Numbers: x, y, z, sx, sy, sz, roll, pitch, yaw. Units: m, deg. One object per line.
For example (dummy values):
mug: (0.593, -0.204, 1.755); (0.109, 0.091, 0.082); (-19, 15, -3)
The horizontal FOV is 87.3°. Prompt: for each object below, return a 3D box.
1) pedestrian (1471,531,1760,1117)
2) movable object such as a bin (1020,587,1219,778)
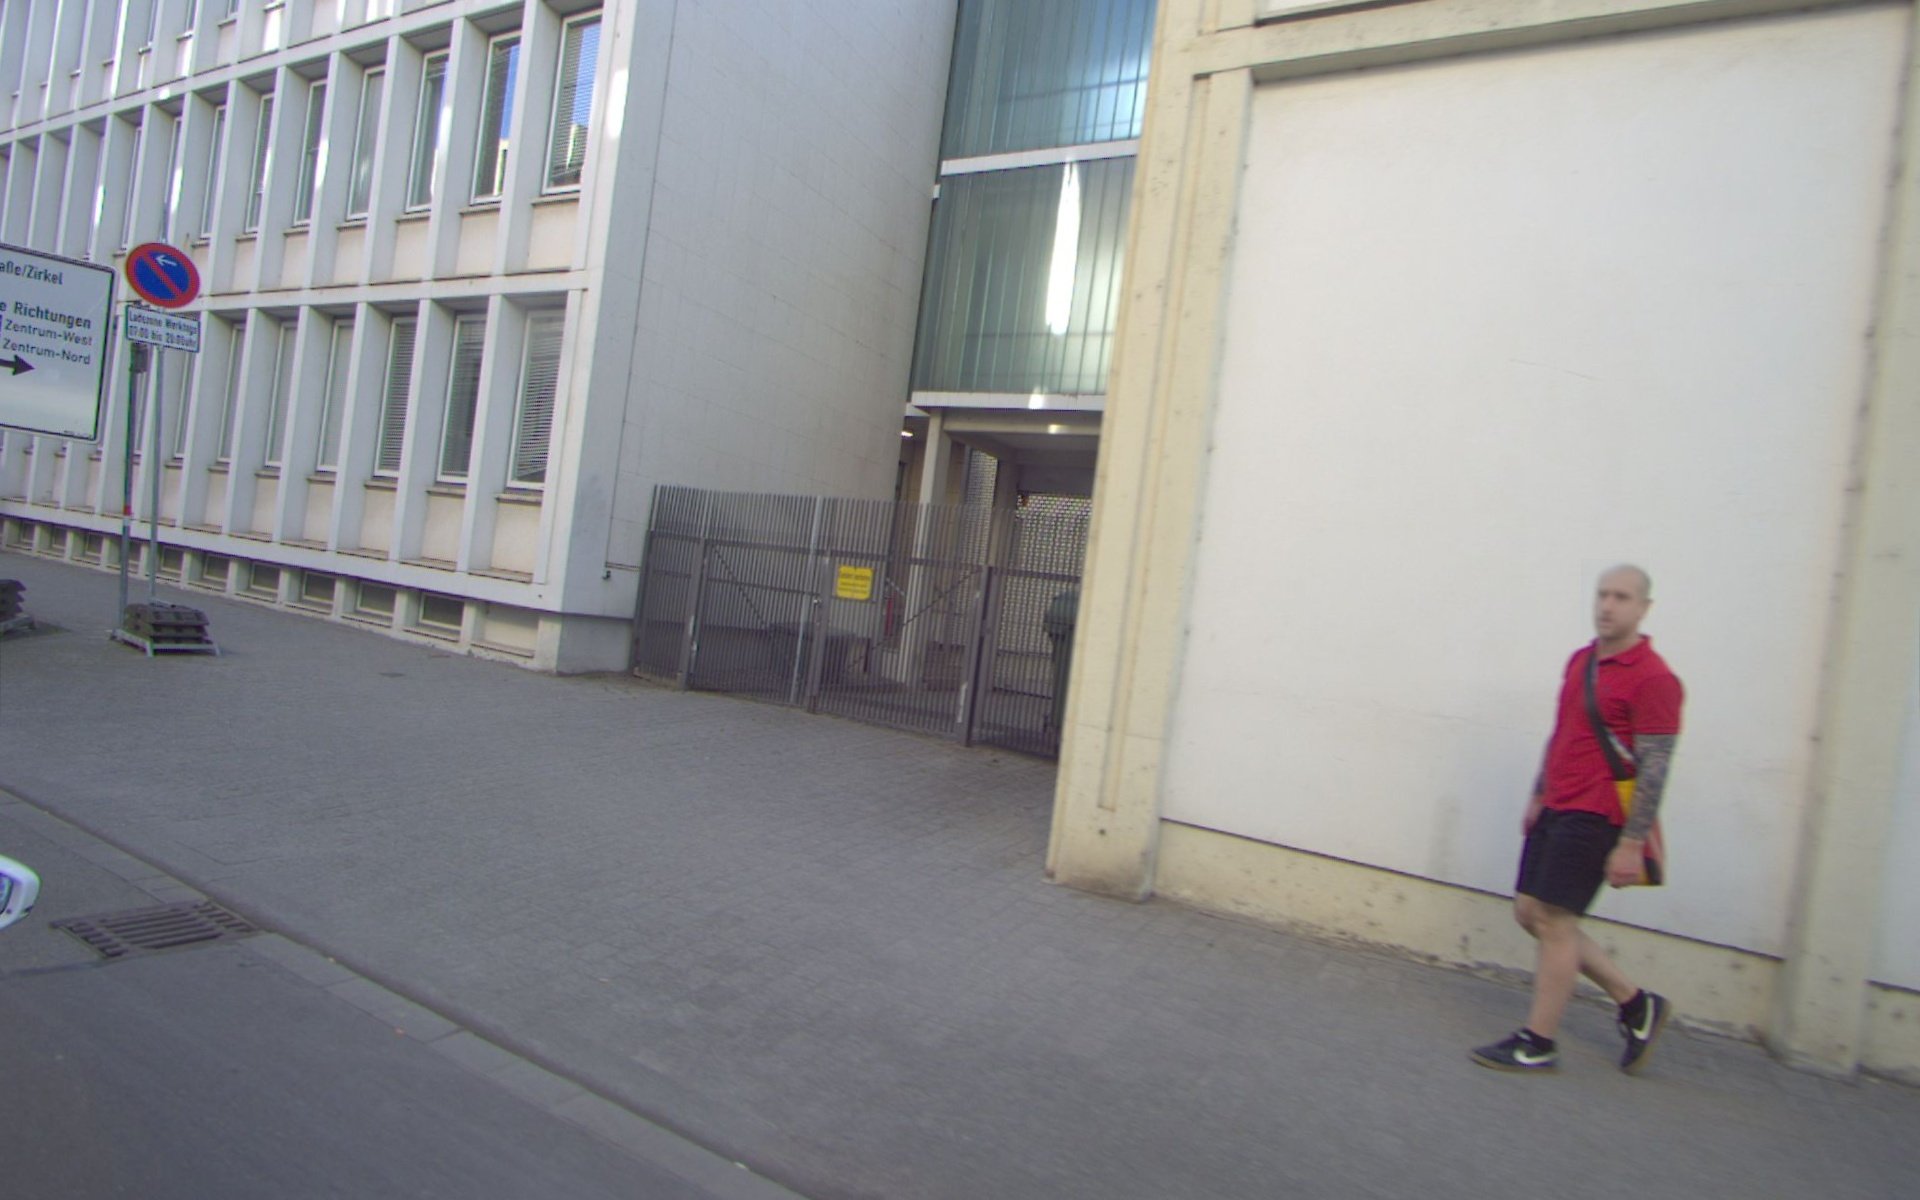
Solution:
pedestrian: (2.267, 0.706, 3.554); (0.583, 1.803, 0.683); (8, 4, 31)
movable object such as a bin: (1.438, 0.720, 9.001); (1.359, 1.453, 0.969); (6, -1, 30)
